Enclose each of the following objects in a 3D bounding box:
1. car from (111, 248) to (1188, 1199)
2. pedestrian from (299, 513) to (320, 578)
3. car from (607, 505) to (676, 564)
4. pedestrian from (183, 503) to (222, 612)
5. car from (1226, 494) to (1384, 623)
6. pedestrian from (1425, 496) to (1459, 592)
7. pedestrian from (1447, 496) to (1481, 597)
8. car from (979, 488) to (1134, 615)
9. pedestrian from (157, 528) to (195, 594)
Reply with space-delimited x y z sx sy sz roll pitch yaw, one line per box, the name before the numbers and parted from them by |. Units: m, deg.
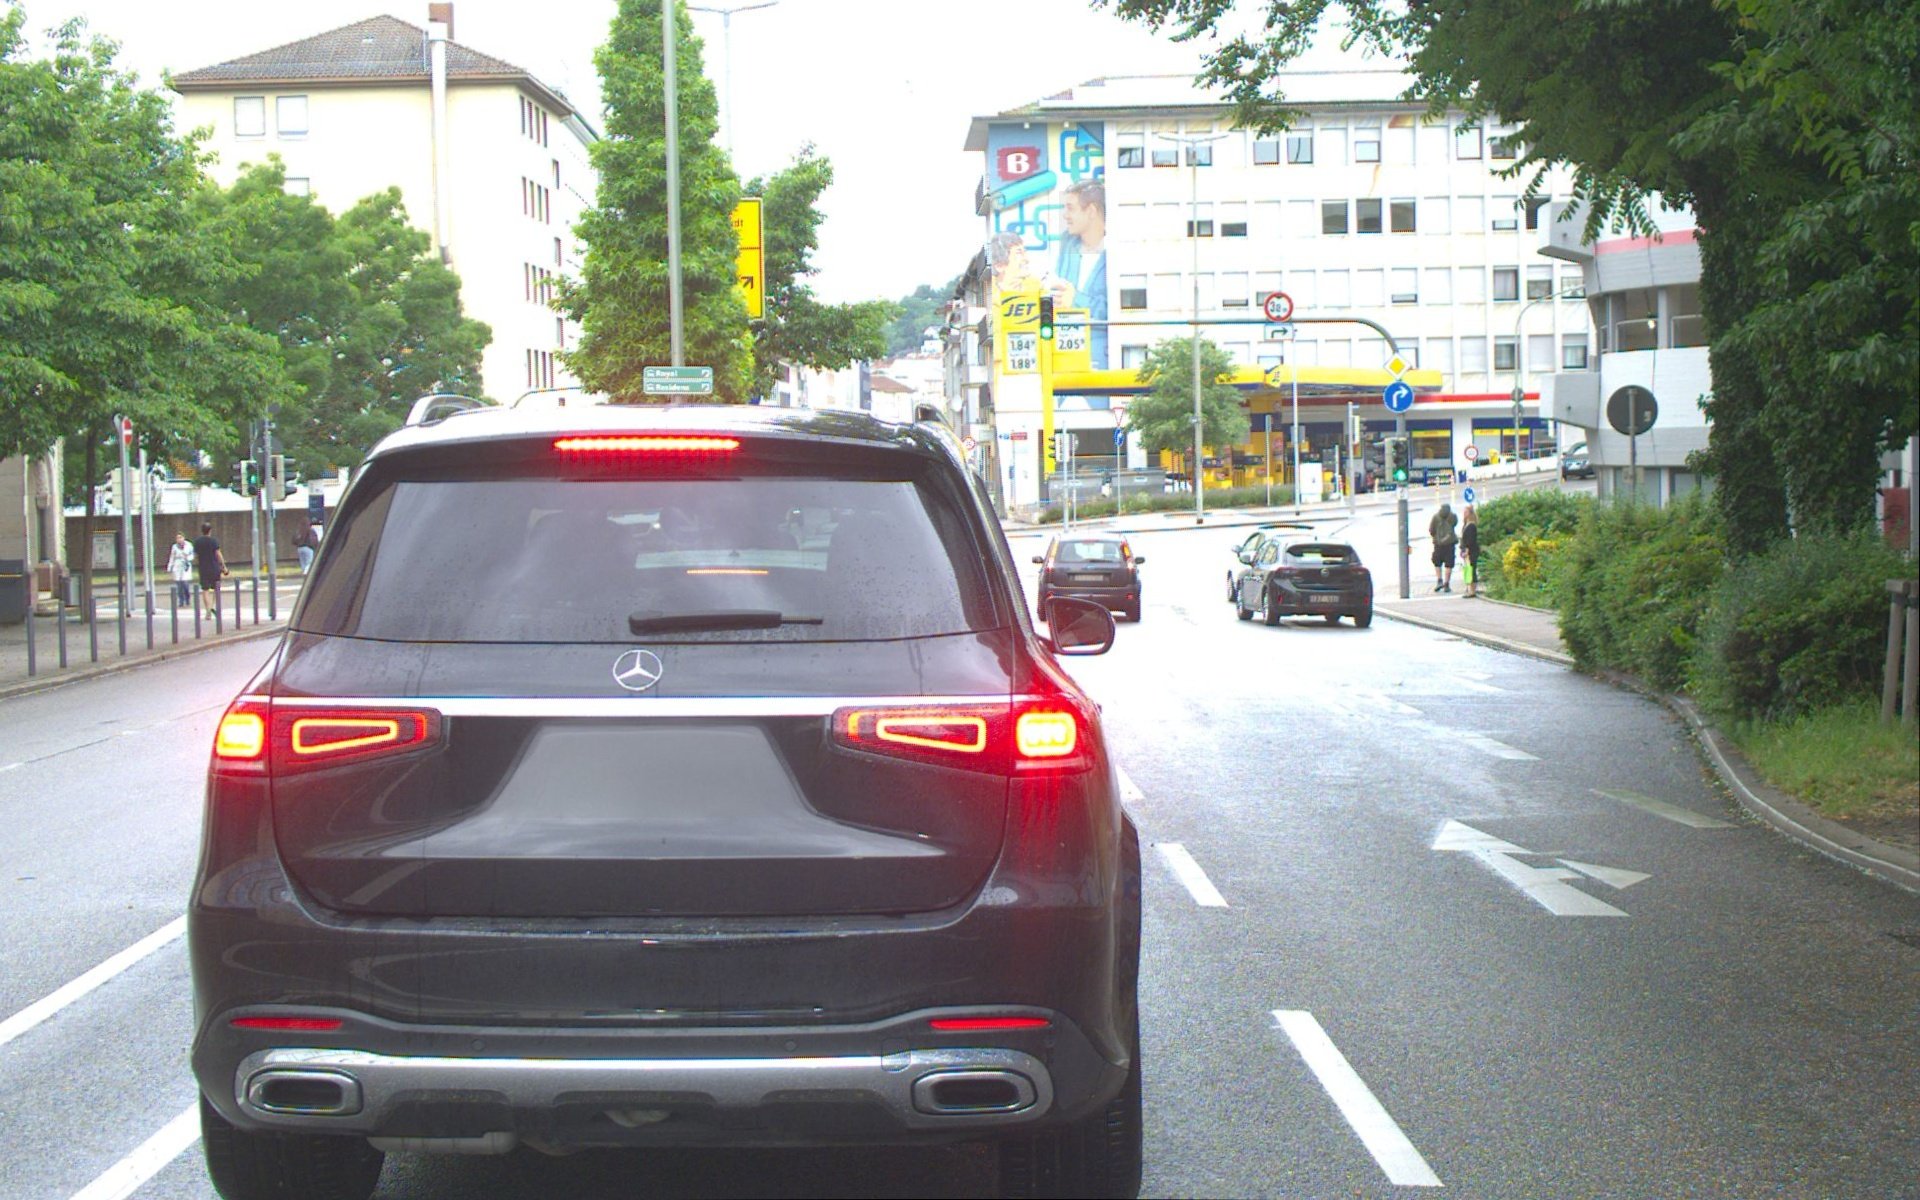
car | -0.650 0.344 8.469 1.993 2.007 4.000 1 0 -2
pedestrian | -16.308 -1.365 86.198 0.399 1.639 0.567 1 0 -1
car | -10.494 -2.135 113.446 1.993 1.868 5.142 1 0 -2
pedestrian | -14.103 -0.804 63.999 0.587 2.006 0.749 1 2 -2
car | 5.563 -0.707 55.863 1.993 2.007 4.001 -1 1 -2
pedestrian | 9.787 -1.140 69.787 0.620 1.929 0.610 1 0 5
pedestrian | 9.594 -1.018 65.433 0.519 1.904 0.556 1 0 -1
car | 1.562 -0.792 57.198 1.993 2.007 4.001 1 0 -7
pedestrian | -17.573 -0.870 77.099 0.711 1.457 0.598 1 0 -2
